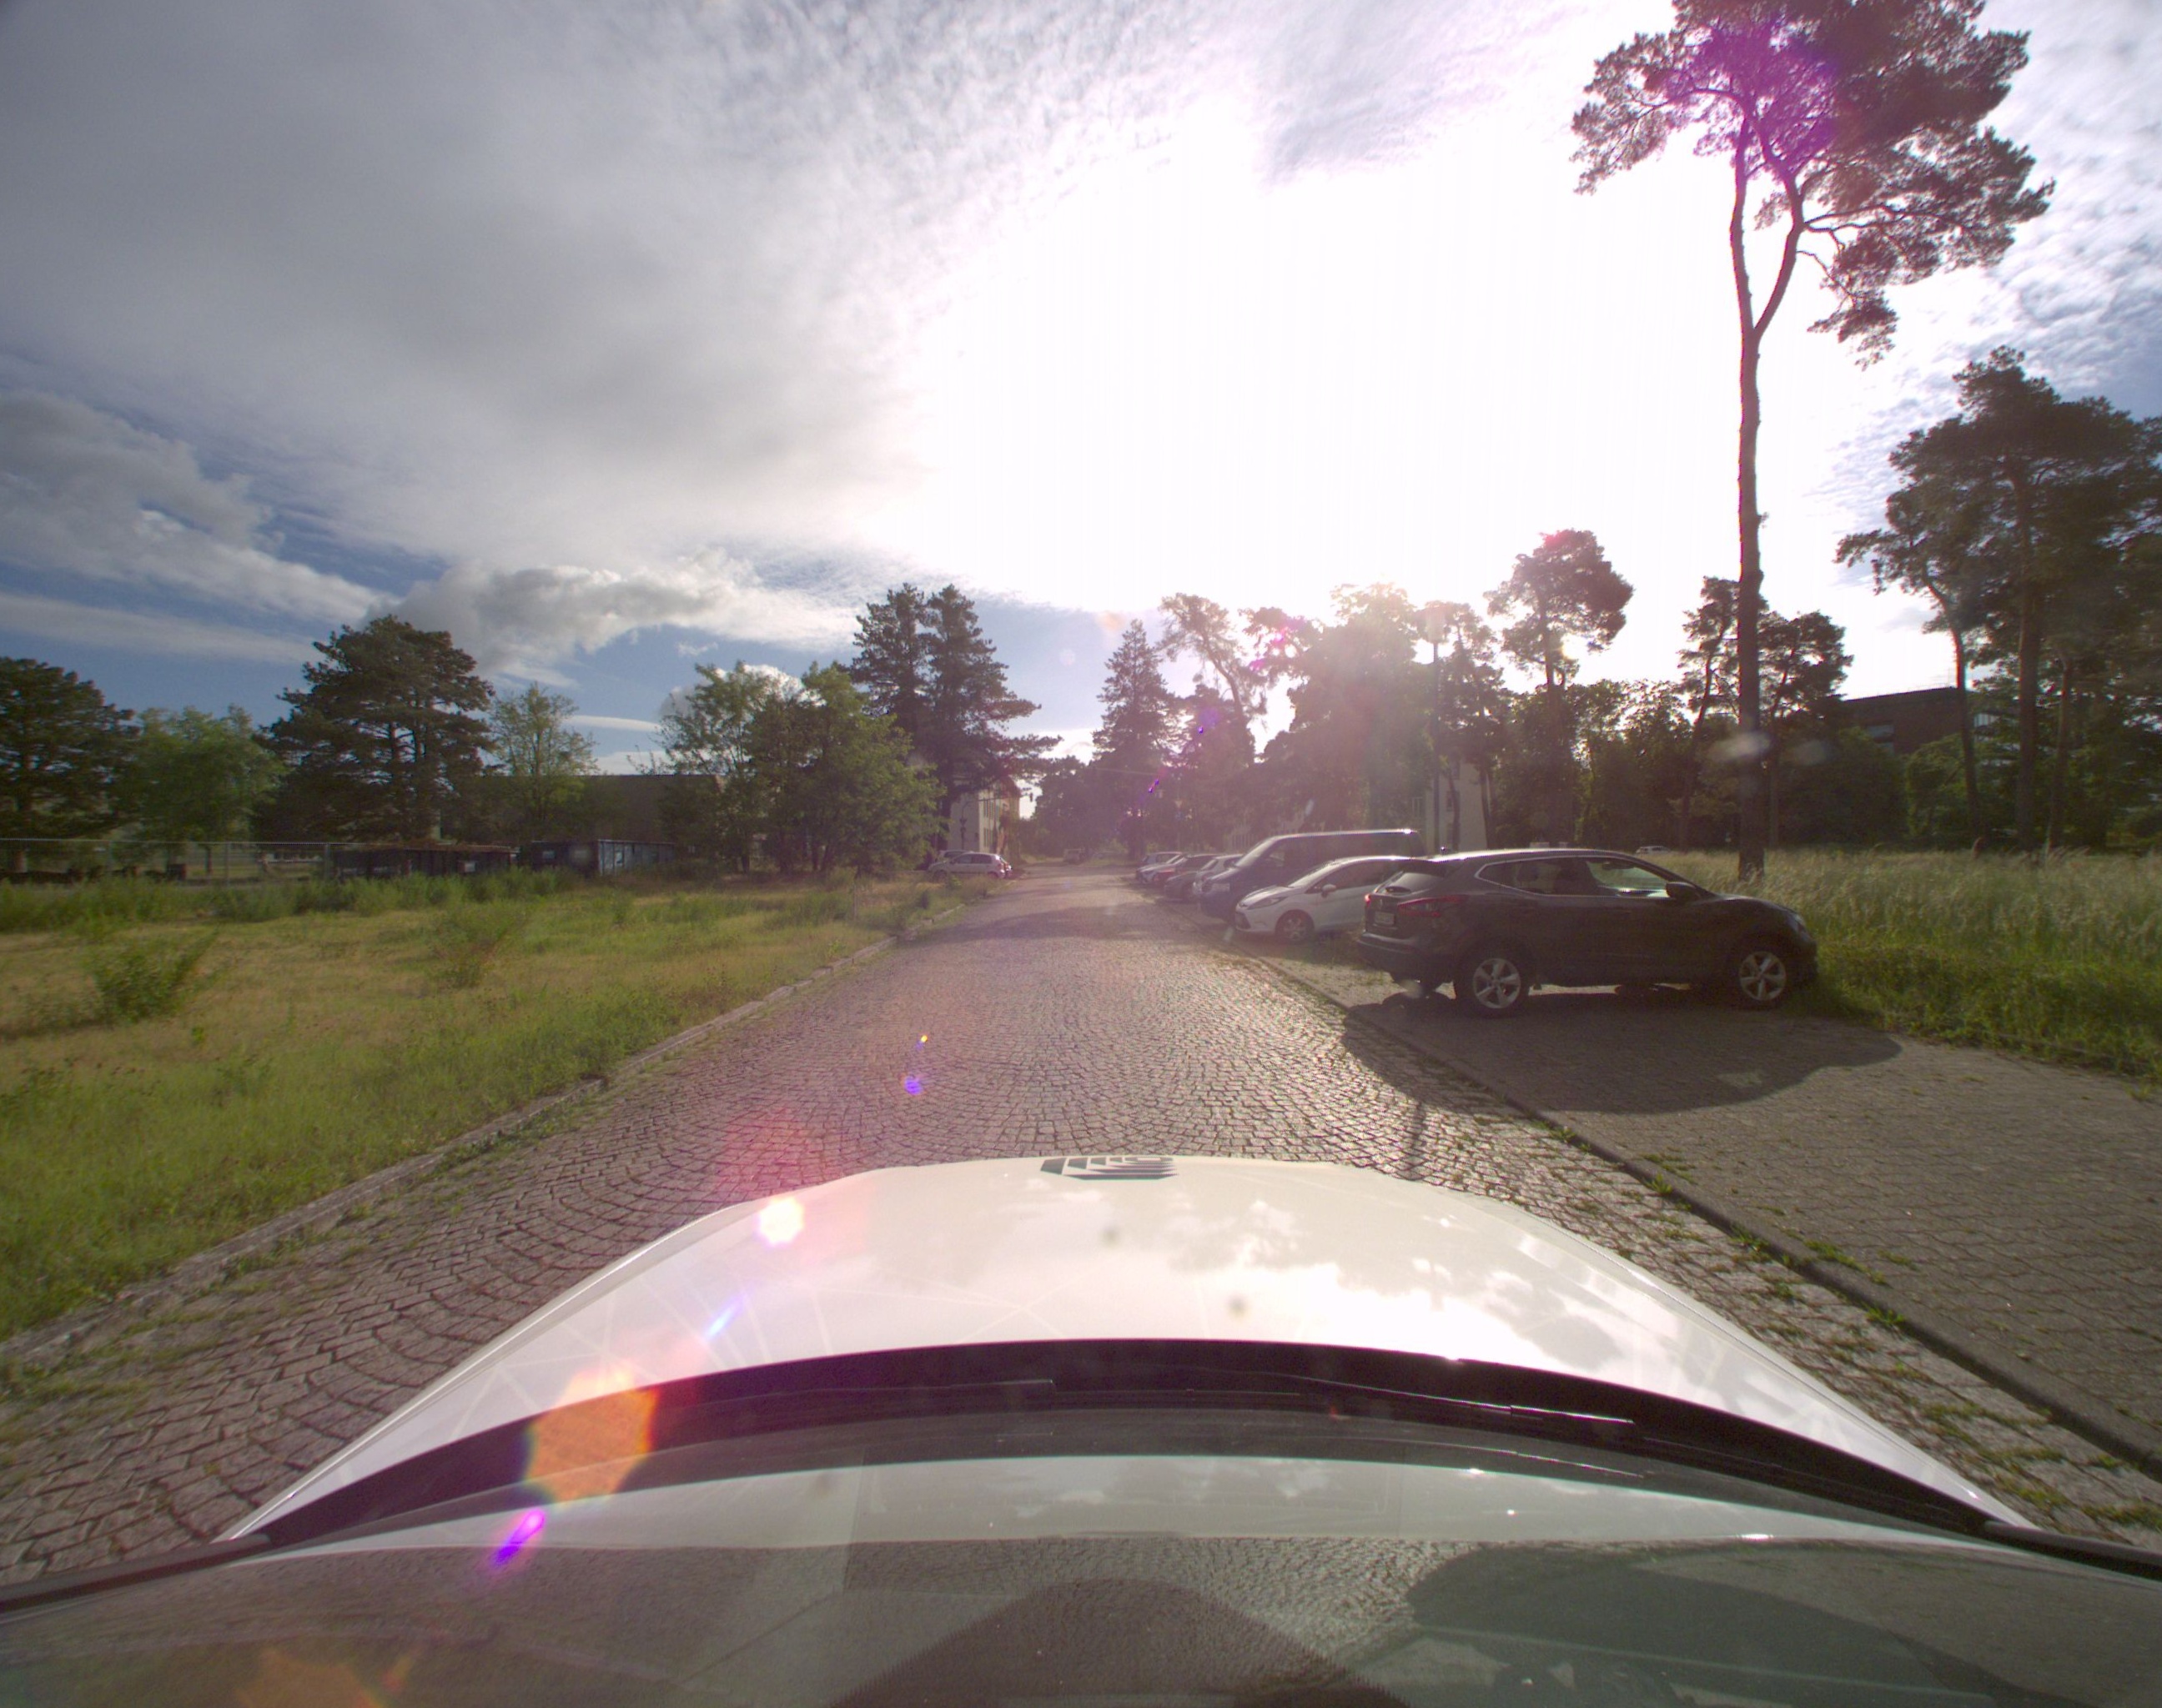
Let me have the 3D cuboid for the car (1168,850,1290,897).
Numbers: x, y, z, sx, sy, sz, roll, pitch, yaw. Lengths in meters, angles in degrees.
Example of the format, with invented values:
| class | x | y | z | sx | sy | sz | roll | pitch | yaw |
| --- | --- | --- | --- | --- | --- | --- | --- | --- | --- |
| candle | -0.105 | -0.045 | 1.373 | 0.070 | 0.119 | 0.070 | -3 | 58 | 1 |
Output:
| class | x | y | z | sx | sy | sz | roll | pitch | yaw |
| --- | --- | --- | --- | --- | --- | --- | --- | --- | --- |
| car | 5.127 | 0.672 | 28.630 | 3.939 | 1.495 | 1.771 | -1 | -1 | -1 |

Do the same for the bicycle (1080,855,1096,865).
| class | x | y | z | sx | sy | sz | roll | pitch | yaw |
| --- | --- | --- | --- | --- | --- | --- | --- | --- | --- |
| bicycle | 0.772 | 0.684 | 93.306 | 1.788 | 0.999 | 0.644 | -1 | 1 | -3 |

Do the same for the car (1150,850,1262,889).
| class | x | y | z | sx | sy | sz | roll | pitch | yaw |
| --- | --- | --- | --- | --- | --- | --- | --- | --- | --- |
| car | 5.116 | 0.648 | 33.646 | 4.329 | 1.473 | 1.739 | -1 | -1 | -2 |

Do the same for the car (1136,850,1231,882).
| class | x | y | z | sx | sy | sz | roll | pitch | yaw |
| --- | --- | --- | --- | --- | --- | --- | --- | --- | --- |
| car | 5.140 | 0.587 | 41.320 | 4.533 | 1.505 | 1.931 | -1 | -1 | -3 |

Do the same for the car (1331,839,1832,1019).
| class | x | y | z | sx | sy | sz | roll | pitch | yaw |
| --- | --- | --- | --- | --- | --- | --- | --- | --- | --- |
| car | 5.045 | 0.702 | 8.630 | 4.180 | 1.589 | 1.876 | -1 | -1 | -2 |

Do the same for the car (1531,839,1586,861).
| class | x | y | z | sx | sy | sz | roll | pitch | yaw |
| --- | --- | --- | --- | --- | --- | --- | --- | --- | --- |
| car | 56.003 | -0.500 | 95.673 | 5.141 | 2.536 | 2.264 | 0 | -1 | 0 |

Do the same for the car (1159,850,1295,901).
| class | x | y | z | sx | sy | sz | roll | pitch | yaw |
| --- | --- | --- | --- | --- | --- | --- | --- | --- | --- |
| car | 4.525 | 0.672 | 25.692 | 3.939 | 1.467 | 1.830 | -1 | -1 | -1 |

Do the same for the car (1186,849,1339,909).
| class | x | y | z | sx | sy | sz | roll | pitch | yaw |
| --- | --- | --- | --- | --- | --- | --- | --- | --- | --- |
| car | 5.004 | 0.671 | 22.847 | 3.863 | 1.530 | 1.807 | -1 | -1 | -1 |

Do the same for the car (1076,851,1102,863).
| class | x | y | z | sx | sy | sz | roll | pitch | yaw |
| --- | --- | --- | --- | --- | --- | --- | --- | --- | --- |
| car | 0.981 | 0.385 | 104.661 | 3.036 | 1.465 | 1.712 | 0 | -1 | -14 |

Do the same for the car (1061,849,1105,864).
| class | x | y | z | sx | sy | sz | roll | pitch | yaw |
| --- | --- | --- | --- | --- | --- | --- | --- | --- | --- |
| car | 0.266 | 0.289 | 108.209 | 5.510 | 1.916 | 2.243 | 0 | -1 | -15 |

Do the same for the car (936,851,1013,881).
| class | x | y | z | sx | sy | sz | roll | pitch | yaw |
| --- | --- | --- | --- | --- | --- | --- | --- | --- | --- |
| car | -5.552 | 0.633 | 42.816 | 3.818 | 1.429 | 1.857 | 2 | -1 | -2 |

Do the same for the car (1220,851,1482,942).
| class | x | y | z | sx | sy | sz | roll | pitch | yaw |
| --- | --- | --- | --- | --- | --- | --- | --- | --- | --- |
| car | 4.852 | 0.737 | 14.980 | 4.183 | 1.470 | 1.805 | -1 | -1 | -5 |

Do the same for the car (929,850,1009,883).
| class | x | y | z | sx | sy | sz | roll | pitch | yaw |
| --- | --- | --- | --- | --- | --- | --- | --- | --- | --- |
| car | -5.481 | 0.613 | 40.163 | 3.674 | 1.473 | 1.848 | 2 | -1 | -3 |

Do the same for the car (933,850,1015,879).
| class | x | y | z | sx | sy | sz | roll | pitch | yaw |
| --- | --- | --- | --- | --- | --- | --- | --- | --- | --- |
| car | -6.258 | 0.599 | 48.034 | 4.577 | 1.455 | 1.901 | 2 | 1 | -4 |

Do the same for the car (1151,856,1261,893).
| class | x | y | z | sx | sy | sz | roll | pitch | yaw |
| --- | --- | --- | --- | --- | --- | --- | --- | --- | --- |
| car | 4.756 | 0.773 | 31.258 | 3.939 | 1.261 | 1.726 | -1 | -1 | -1 |

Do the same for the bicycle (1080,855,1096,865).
| class | x | y | z | sx | sy | sz | roll | pitch | yaw |
| --- | --- | --- | --- | --- | --- | --- | --- | --- | --- |
| bicycle | 0.788 | 0.675 | 92.286 | 1.788 | 0.999 | 0.644 | -1 | 1 | -3 |

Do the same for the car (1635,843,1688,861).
| class | x | y | z | sx | sy | sz | roll | pitch | yaw |
| --- | --- | --- | --- | --- | --- | --- | --- | --- | --- |
| car | 56.696 | -0.207 | 79.583 | 3.923 | 1.679 | 1.854 | 0 | -1 | -3 |

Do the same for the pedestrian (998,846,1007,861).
| class | x | y | z | sx | sy | sz | roll | pitch | yaw |
| --- | --- | --- | --- | --- | --- | --- | --- | --- | --- |
| pedestrian | -10.040 | -0.034 | 104.365 | 0.982 | 1.963 | 0.932 | 0 | -1 | -2 |

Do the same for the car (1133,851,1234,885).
| class | x | y | z | sx | sy | sz | roll | pitch | yaw |
| --- | --- | --- | --- | --- | --- | --- | --- | --- | --- |
| car | 4.824 | 0.636 | 38.687 | 4.499 | 1.473 | 1.892 | -1 | -1 | -5 |

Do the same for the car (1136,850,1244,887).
| class | x | y | z | sx | sy | sz | roll | pitch | yaw |
| --- | --- | --- | --- | --- | --- | --- | --- | --- | --- |
| car | 4.750 | 0.639 | 35.907 | 4.494 | 1.473 | 1.848 | -1 | -1 | -2 |

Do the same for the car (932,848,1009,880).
| class | x | y | z | sx | sy | sz | roll | pitch | yaw |
| --- | --- | --- | --- | --- | --- | --- | --- | --- | --- |
| car | -6.136 | 0.560 | 45.495 | 4.115 | 1.600 | 1.855 | 2 | -1 | -6 |

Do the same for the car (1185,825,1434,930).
| class | x | y | z | sx | sy | sz | roll | pitch | yaw |
| --- | --- | --- | --- | --- | --- | --- | --- | --- | --- |
| car | 4.763 | 0.484 | 17.490 | 4.720 | 1.928 | 1.991 | -2 | -1 | -2 |

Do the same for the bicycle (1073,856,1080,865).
| class | x | y | z | sx | sy | sz | roll | pitch | yaw |
| --- | --- | --- | --- | --- | --- | --- | --- | --- | --- |
| bicycle | -0.532 | 0.693 | 88.663 | 0.726 | 0.999 | 1.798 | -1 | 1 | -1 |
